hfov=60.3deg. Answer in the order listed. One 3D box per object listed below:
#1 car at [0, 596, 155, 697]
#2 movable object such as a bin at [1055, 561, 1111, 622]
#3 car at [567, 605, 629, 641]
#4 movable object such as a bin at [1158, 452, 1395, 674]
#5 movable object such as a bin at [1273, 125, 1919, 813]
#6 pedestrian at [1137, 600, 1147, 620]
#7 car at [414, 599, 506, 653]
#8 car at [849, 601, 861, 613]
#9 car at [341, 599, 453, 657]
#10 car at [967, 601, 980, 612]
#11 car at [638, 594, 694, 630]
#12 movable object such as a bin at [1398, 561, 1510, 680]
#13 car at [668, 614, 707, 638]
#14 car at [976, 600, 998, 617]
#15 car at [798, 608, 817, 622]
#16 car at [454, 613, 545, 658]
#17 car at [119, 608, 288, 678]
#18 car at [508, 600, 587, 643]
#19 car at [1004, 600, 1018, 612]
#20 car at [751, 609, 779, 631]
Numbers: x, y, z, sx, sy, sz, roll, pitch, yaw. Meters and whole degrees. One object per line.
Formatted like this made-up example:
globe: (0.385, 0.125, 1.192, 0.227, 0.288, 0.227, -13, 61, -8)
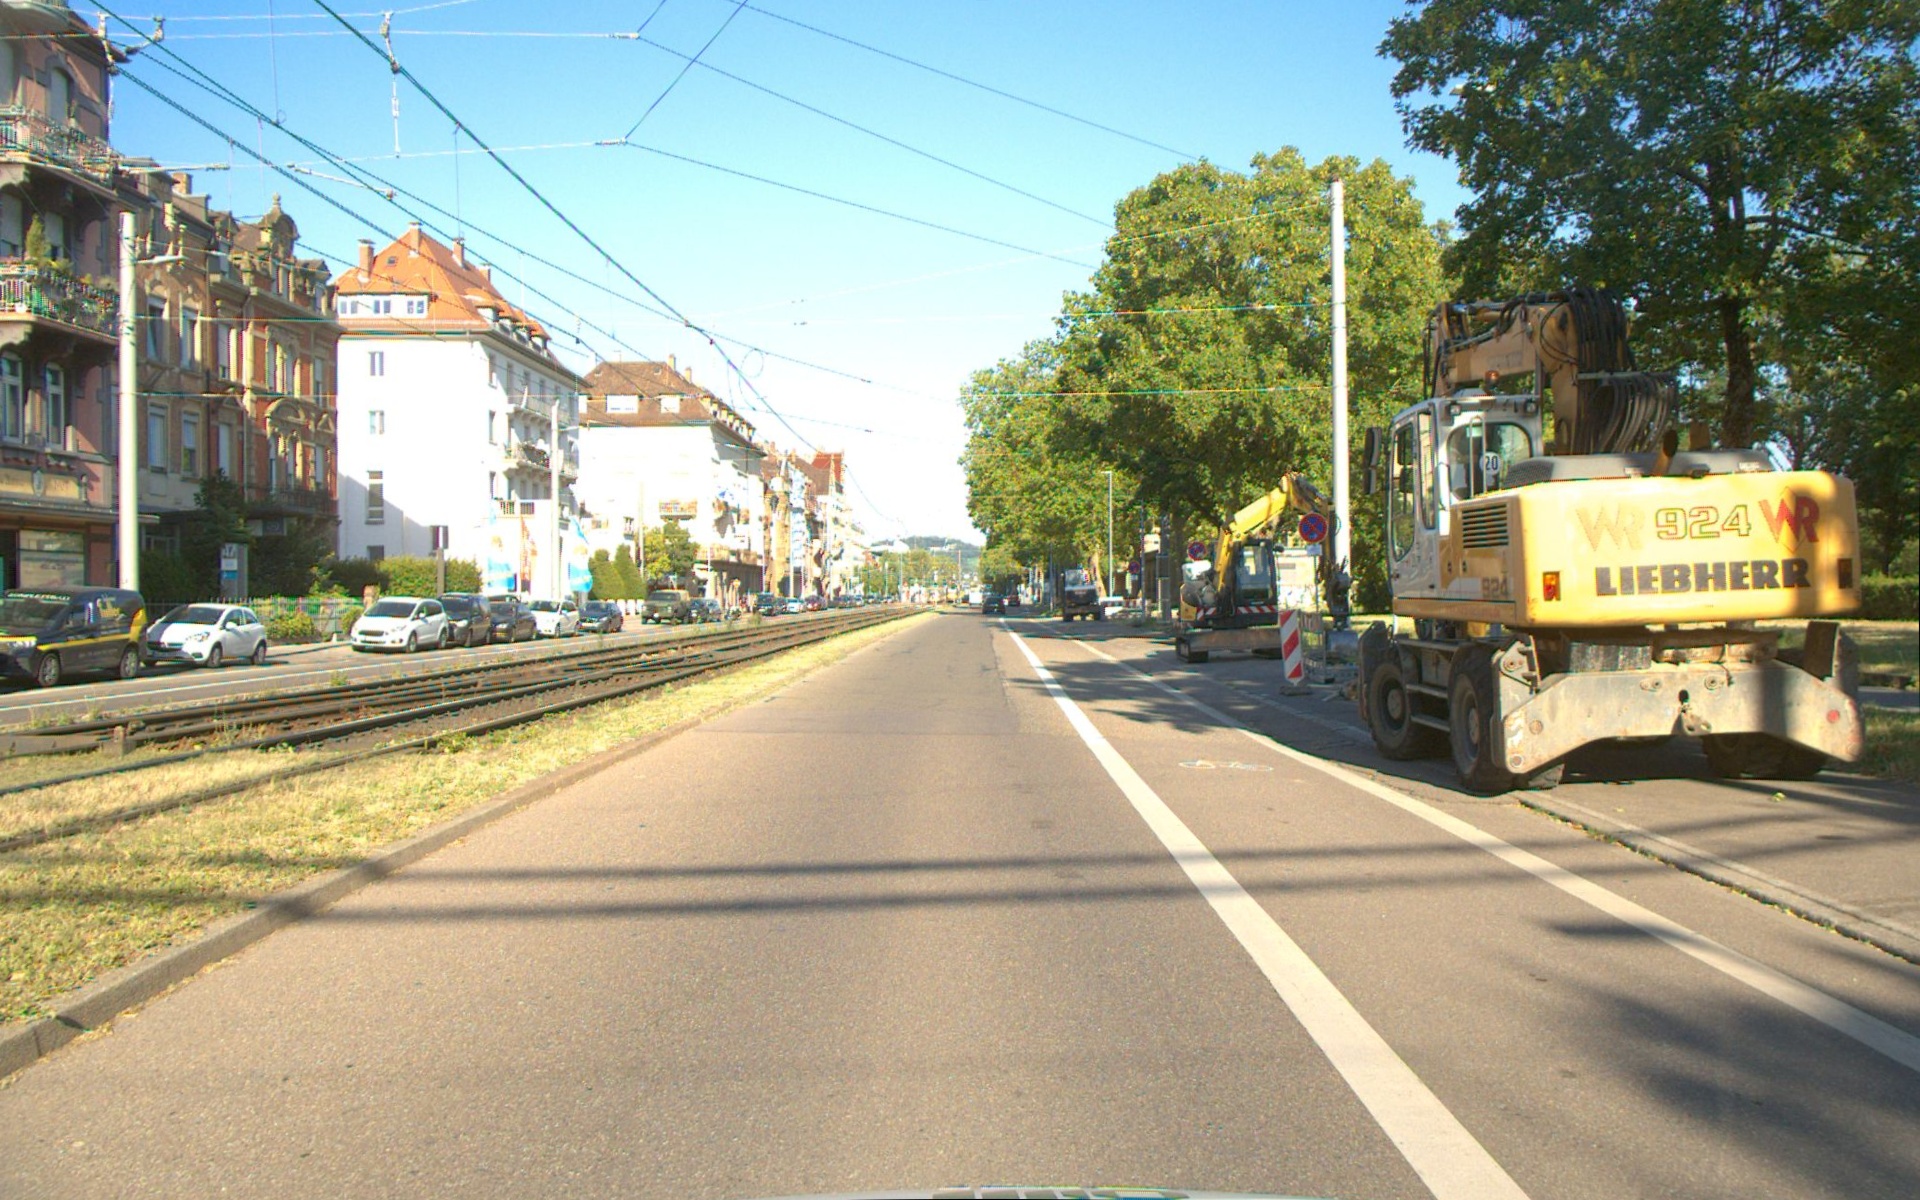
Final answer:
car: (-17.855, 0.852, 32.701, 1.626, 1.839, 4.727, 1, 0, -1)
movable object such as a bin: (7.003, -0.494, 94.875, 2.688, 3.200, 7.221, -4, 0, 2)
car: (-17.193, 1.053, 78.766, 1.882, 1.486, 4.841, 5, 0, -1)
movable object such as a bin: (6.497, -0.703, 35.393, 3.271, 4.045, 7.596, -4, 0, -1)
movable object such as a bin: (5.271, -0.934, 15.479, 2.855, 4.690, 7.596, -3, 0, -1)
pedestrian: (15.460, 0.853, 140.312, 0.596, 1.711, 0.636, -4, 0, -1)
car: (-17.485, 0.875, 58.060, 1.881, 1.812, 4.498, 1, 0, -1)
car: (-15.620, 1.035, 246.246, 1.759, 1.536, 3.997, 3, 0, -4)
car: (-17.842, 0.859, 52.633, 1.881, 1.713, 4.628, 1, 0, 1)
car: (1.989, 1.000, 243.645, 1.757, 1.537, 4.000, 1, -1, 0)
car: (-17.404, 0.697, 98.102, 2.034, 2.045, 5.593, 1, 0, 3)
movable object such as a bin: (7.861, 0.318, 26.395, 1.290, 1.696, 1.303, -7, -1, 4)
car: (-17.163, 1.634, 104.308, 1.601, 1.534, 4.160, 0, -1, 3)
car: (2.243, 0.681, 138.637, 1.796, 1.415, 4.159, 0, 0, 0)
car: (-16.535, 1.579, 179.477, 1.797, 1.415, 4.032, 3, 0, -4)
car: (-17.506, 1.327, 63.094, 1.880, 1.588, 4.844, 1, 0, 3)
car: (-18.202, 0.986, 40.058, 1.881, 1.565, 4.628, 0, 0, 1)
car: (-17.324, 0.871, 69.698, 1.880, 1.724, 4.844, 1, 0, 3)
car: (6.578, 0.755, 213.067, 1.757, 1.537, 4.000, 0, 0, 0)
car: (-16.618, 1.695, 141.133, 1.824, 1.817, 4.401, 1, 0, 0)
